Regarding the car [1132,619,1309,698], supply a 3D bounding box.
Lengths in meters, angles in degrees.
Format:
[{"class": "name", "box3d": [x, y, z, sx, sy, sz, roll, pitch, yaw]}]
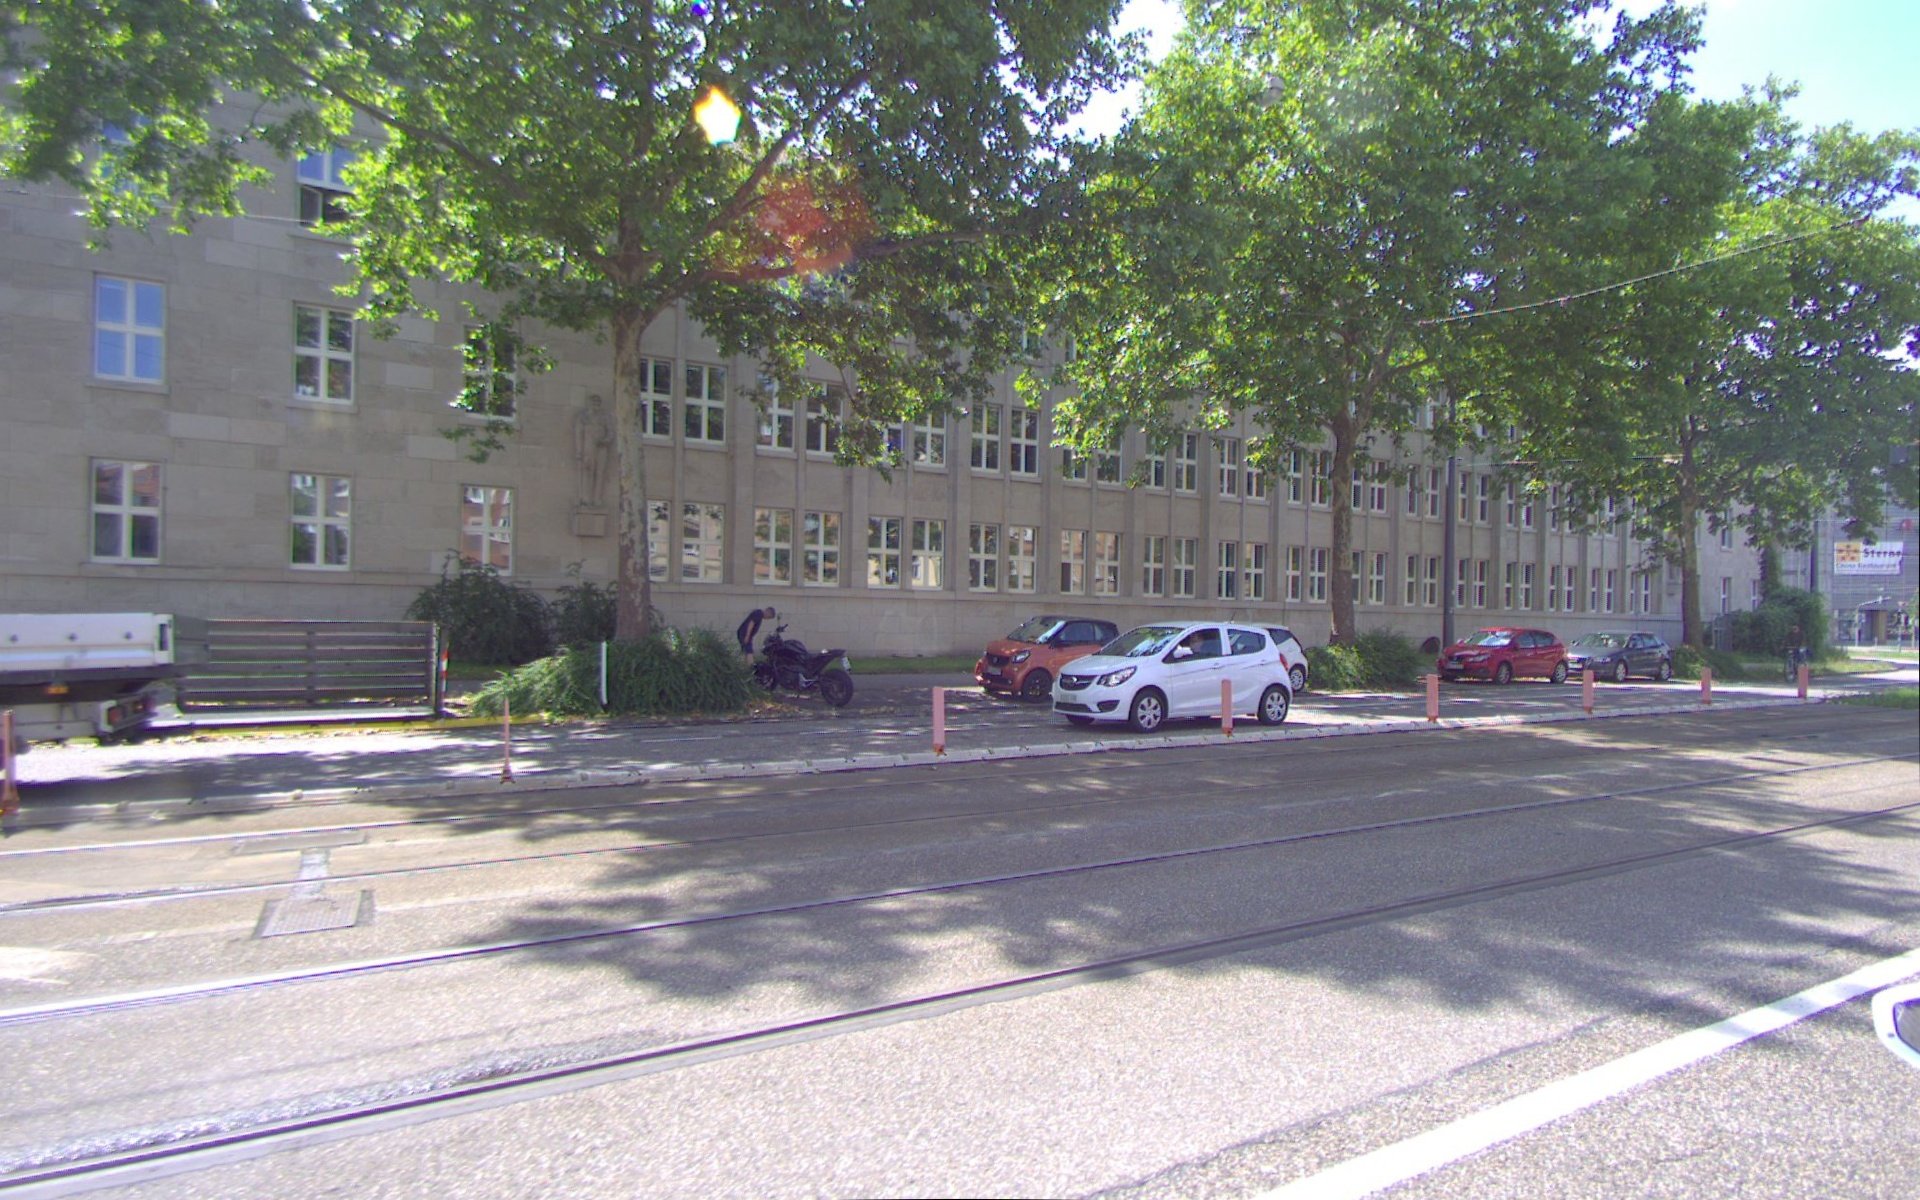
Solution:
[{"class": "car", "box3d": [5.575, 1.187, 21.435, 3.452, 1.473, 1.737, 1, 2, -32]}]

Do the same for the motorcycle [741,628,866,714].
[{"class": "motorcycle", "box3d": [-2.620, 1.162, 16.770, 2.067, 1.192, 0.544, 4, 5, 23]}]

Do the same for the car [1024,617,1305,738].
[{"class": "car", "box3d": [2.947, 1.021, 14.362, 3.744, 1.499, 1.752, 0, -2, -31]}]

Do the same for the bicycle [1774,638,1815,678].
[{"class": "bicycle", "box3d": [25.910, 1.777, 31.171, 0.782, 1.125, 2.263, 2, 1, 44]}]

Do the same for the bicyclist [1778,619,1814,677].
[{"class": "bicyclist", "box3d": [25.979, 1.478, 31.219, 0.753, 1.727, 0.779, 2, 1, 43]}]

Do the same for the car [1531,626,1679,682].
[{"class": "car", "box3d": [18.594, 1.497, 28.935, 4.269, 1.387, 1.916, 1, 2, -32]}]

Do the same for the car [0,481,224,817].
[{"class": "car", "box3d": [-9.508, 0.332, 6.921, 6.901, 2.405, 2.244, 1, -2, -31]}]

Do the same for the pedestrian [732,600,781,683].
[{"class": "pedestrian", "box3d": [-4.069, 0.814, 20.039, 0.786, 1.612, 0.551, 1, 1, -30]}]

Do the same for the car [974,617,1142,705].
[{"class": "car", "box3d": [1.874, 1.104, 19.099, 2.850, 1.473, 1.478, 1, 2, -32]}]

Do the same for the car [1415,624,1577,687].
[{"class": "car", "box3d": [14.185, 1.406, 26.546, 4.001, 1.439, 1.917, 1, 2, -30]}]
